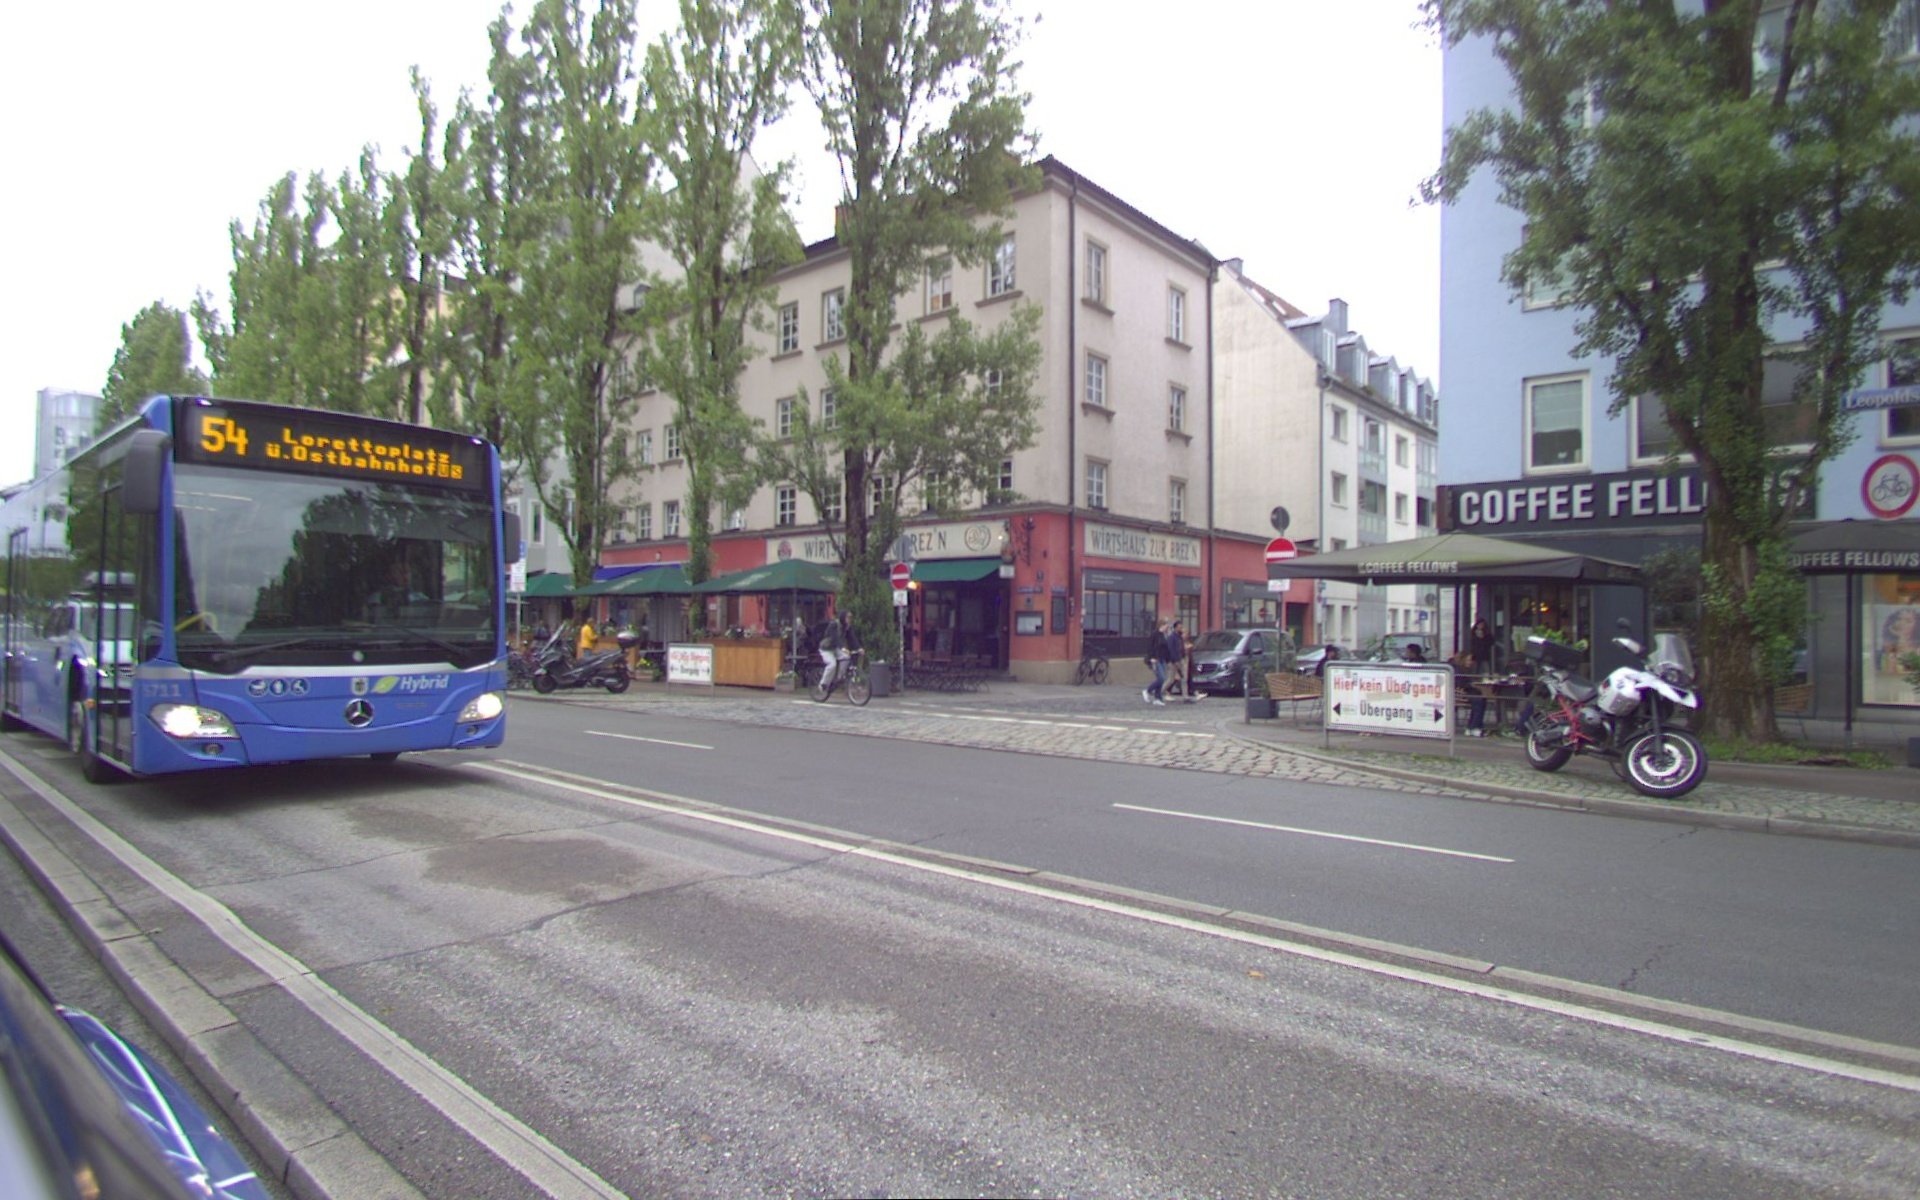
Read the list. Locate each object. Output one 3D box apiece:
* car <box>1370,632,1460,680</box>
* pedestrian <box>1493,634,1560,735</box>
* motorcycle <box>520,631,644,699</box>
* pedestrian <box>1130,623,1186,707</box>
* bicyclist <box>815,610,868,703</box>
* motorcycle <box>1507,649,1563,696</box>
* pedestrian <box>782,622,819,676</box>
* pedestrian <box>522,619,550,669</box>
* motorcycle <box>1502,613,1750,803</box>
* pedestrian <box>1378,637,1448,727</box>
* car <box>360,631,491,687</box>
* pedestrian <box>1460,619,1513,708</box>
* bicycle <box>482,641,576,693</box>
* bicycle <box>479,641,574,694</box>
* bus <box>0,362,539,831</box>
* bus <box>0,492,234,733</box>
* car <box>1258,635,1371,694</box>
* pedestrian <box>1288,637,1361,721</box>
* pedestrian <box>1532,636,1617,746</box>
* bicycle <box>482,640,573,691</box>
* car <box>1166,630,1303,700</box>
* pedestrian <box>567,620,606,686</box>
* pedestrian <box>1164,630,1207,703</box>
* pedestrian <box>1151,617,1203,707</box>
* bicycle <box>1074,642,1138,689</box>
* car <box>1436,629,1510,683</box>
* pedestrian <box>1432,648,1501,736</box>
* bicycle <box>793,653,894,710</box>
[{"bbox_3d":[18.135,2.236,40.268,2.116,1.780,4.525,-1,-4,40],"label":"car"},{"bbox_3d":[7.993,1.169,14.276,0.699,1.373,0.706,-1,-3,39],"label":"pedestrian"},{"bbox_3d":[-8.122,1.384,21.772,2.426,1.425,0.744,0,-2,8],"label":"motorcycle"},{"bbox_3d":[4.228,1.373,21.615,0.950,1.735,0.690,-2,-3,44],"label":"pedestrian"},{"bbox_3d":[-2.248,1.050,19.149,0.816,1.718,0.598,-1,-2,42],"label":"bicyclist"},{"bbox_3d":[15.851,1.974,27.884,0.738,1.213,2.729,-4,-4,42],"label":"motorcycle"},{"bbox_3d":[-4.936,1.506,31.317,0.689,1.659,0.930,2,-3,-44],"label":"pedestrian"},{"bbox_3d":[-16.813,1.746,40.094,0.905,1.941,0.690,-2,-3,44],"label":"pedestrian"},{"bbox_3d":[6.181,0.918,9.612,0.704,1.575,2.348,0,-1,-2],"label":"motorcycle"},{"bbox_3d":[7.199,1.275,16.072,0.819,1.373,0.690,-2,-3,44],"label":"pedestrian"},{"bbox_3d":[-14.668,1.579,27.715,3.780,1.433,1.739,-1,-3,38],"label":"car"},{"bbox_3d":[10.880,1.290,20.947,0.692,1.786,0.947,0,-2,10],"label":"pedestrian"},{"bbox_3d":[-9.912,1.532,23.307,1.949,1.134,0.283,-1,0,-12],"label":"bicycle"},{"bbox_3d":[-9.852,1.531,23.029,1.949,1.134,0.283,-1,0,-12],"label":"bicycle"},{"bbox_3d":[-8.181,0.087,10.733,10.046,2.972,2.661,-1,-2,41],"label":"bus"},{"bbox_3d":[-14.939,0.262,16.595,10.046,2.972,2.655,-1,-2,41],"label":"bus"},{"bbox_3d":[11.556,2.071,32.790,1.982,1.780,4.525,-1,-4,40],"label":"car"},{"bbox_3d":[6.169,1.315,17.141,0.950,1.373,0.690,-2,-3,44],"label":"pedestrian"},{"bbox_3d":[8.044,1.160,13.252,0.847,1.373,0.690,-1,-3,40],"label":"pedestrian"},{"bbox_3d":[-10.240,1.548,23.989,1.949,1.134,0.343,-1,0,-12],"label":"bicycle"},{"bbox_3d":[7.735,1.790,28.272,1.982,1.780,4.525,-1,-4,40],"label":"car"},{"bbox_3d":[-10.068,1.408,27.286,0.699,1.739,0.722,-1,-3,40],"label":"pedestrian"},{"bbox_3d":[5.233,1.525,23.468,0.732,1.636,0.690,-2,-3,44],"label":"pedestrian"},{"bbox_3d":[4.760,1.344,22.222,0.905,1.941,0.690,-2,-3,44],"label":"pedestrian"},{"bbox_3d":[4.025,1.776,27.771,0.645,1.214,2.317,-1,-3,39],"label":"bicycle"},{"bbox_3d":[24.140,2.626,47.552,1.982,2.384,4.523,-2,-4,42],"label":"car"},{"bbox_3d":[7.179,1.280,14.336,0.699,1.192,0.807,-1,-3,39],"label":"pedestrian"},{"bbox_3d":[-2.231,1.511,19.103,2.173,0.976,0.605,-1,-2,42],"label":"bicycle"}]
